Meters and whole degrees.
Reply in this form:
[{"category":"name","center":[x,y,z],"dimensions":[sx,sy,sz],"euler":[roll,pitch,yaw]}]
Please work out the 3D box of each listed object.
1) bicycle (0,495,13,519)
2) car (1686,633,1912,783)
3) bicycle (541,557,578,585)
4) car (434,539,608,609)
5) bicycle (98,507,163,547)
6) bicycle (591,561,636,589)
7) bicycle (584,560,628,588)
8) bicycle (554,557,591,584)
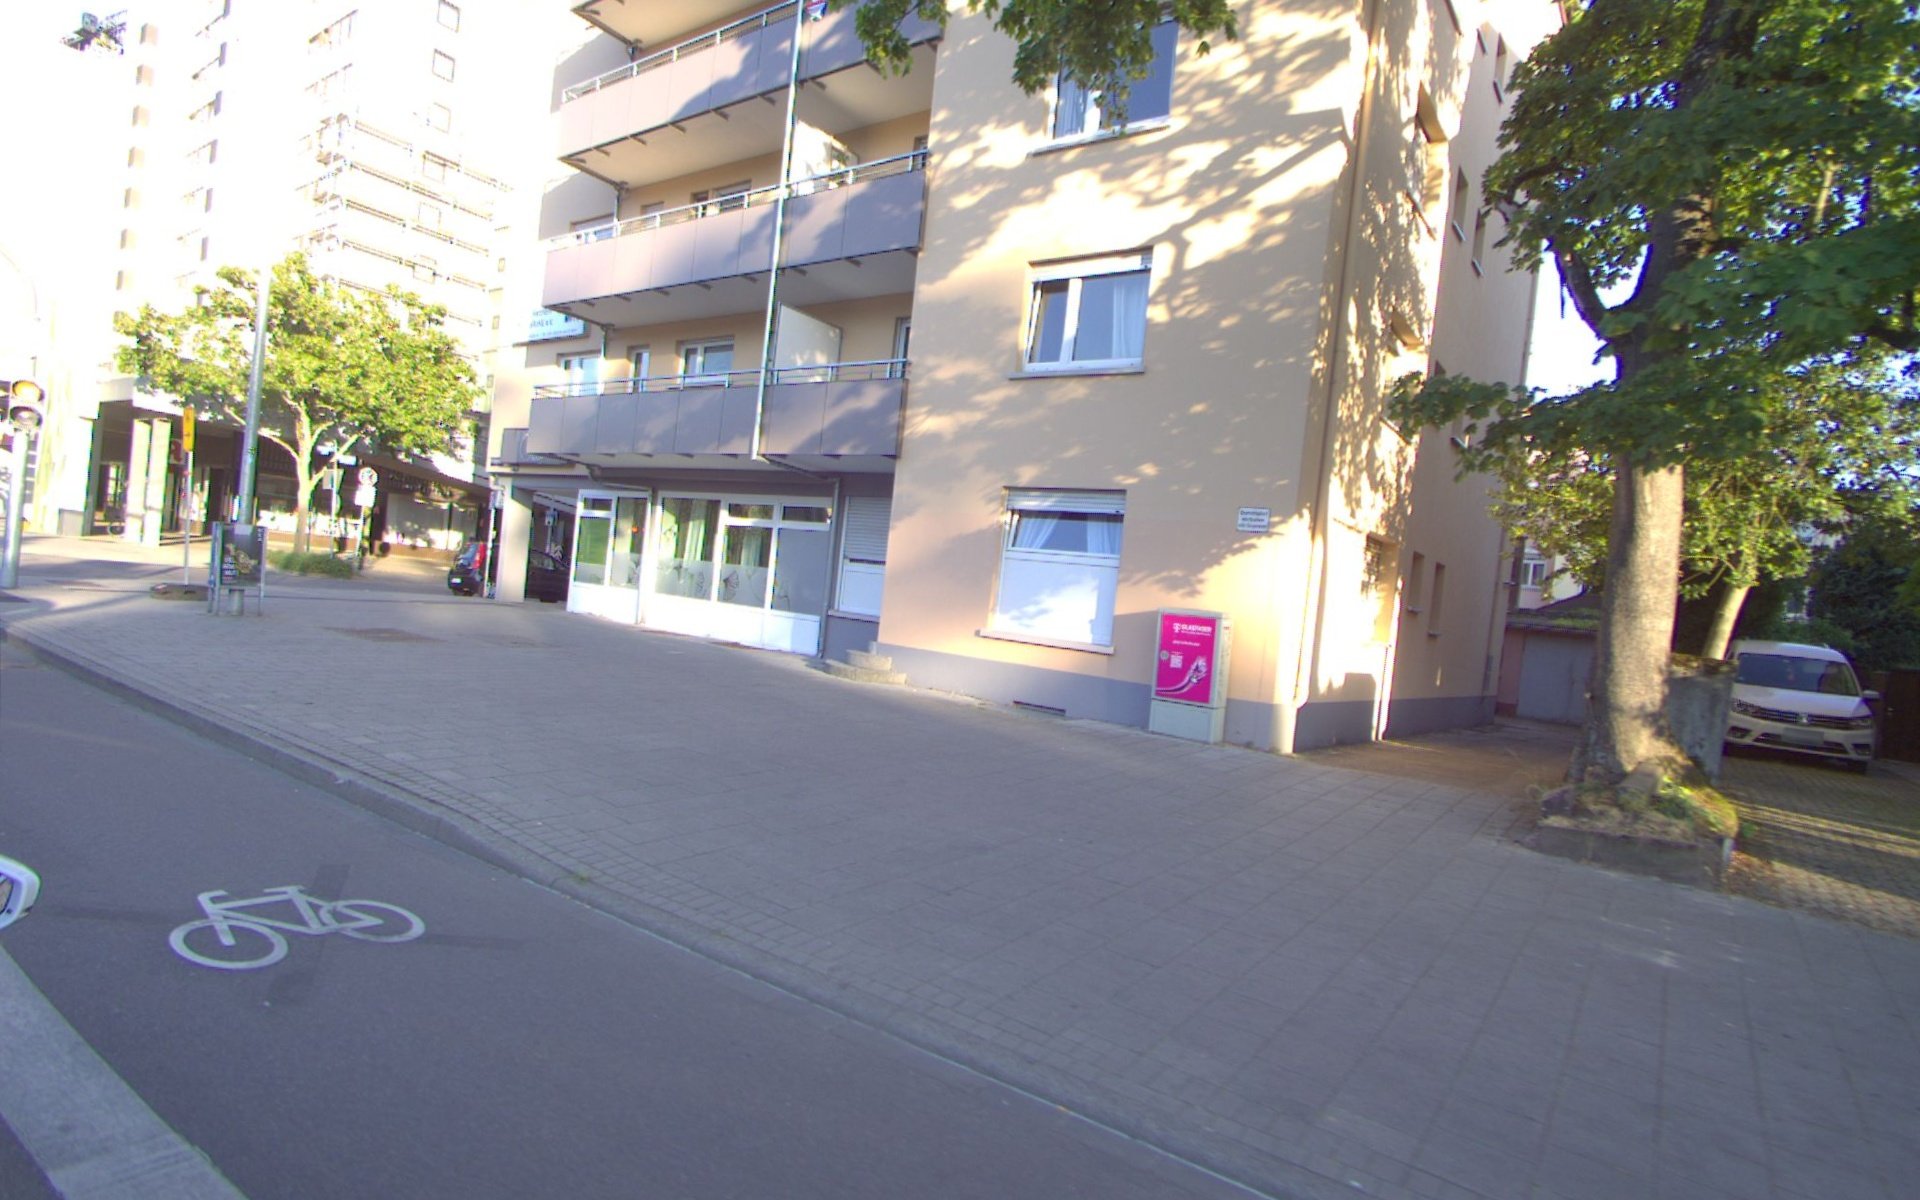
[{"category":"bicycle","center":[-51.089,-5.003,52.683],"dimensions":[0.681,1.162,2.016],"euler":[5,-4,41]},{"category":"car","center":[12.883,1.534,15.773],"dimensions":[1.795,1.780,4.510],"euler":[8,2,30]},{"category":"bicycle","center":[-18.324,-1.322,46.006],"dimensions":[1.948,1.087,0.581],"euler":[5,-3,38]},{"category":"car","center":[-11.999,-0.674,27.693],"dimensions":[1.682,1.605,4.033],"euler":[3,-1,39]},{"category":"bicycle","center":[-29.695,-2.611,36.000],"dimensions":[1.985,1.162,0.691],"euler":[7,-2,17]},{"category":"bicycle","center":[-16.866,-1.210,48.977],"dimensions":[1.939,1.087,0.584],"euler":[7,-2,12]},{"category":"bicycle","center":[-17.079,-1.241,48.545],"dimensions":[1.940,1.087,0.583],"euler":[7,-2,16]},{"category":"bicycle","center":[-17.972,-1.379,46.647],"dimensions":[1.948,1.087,0.581],"euler":[5,-3,38]}]
